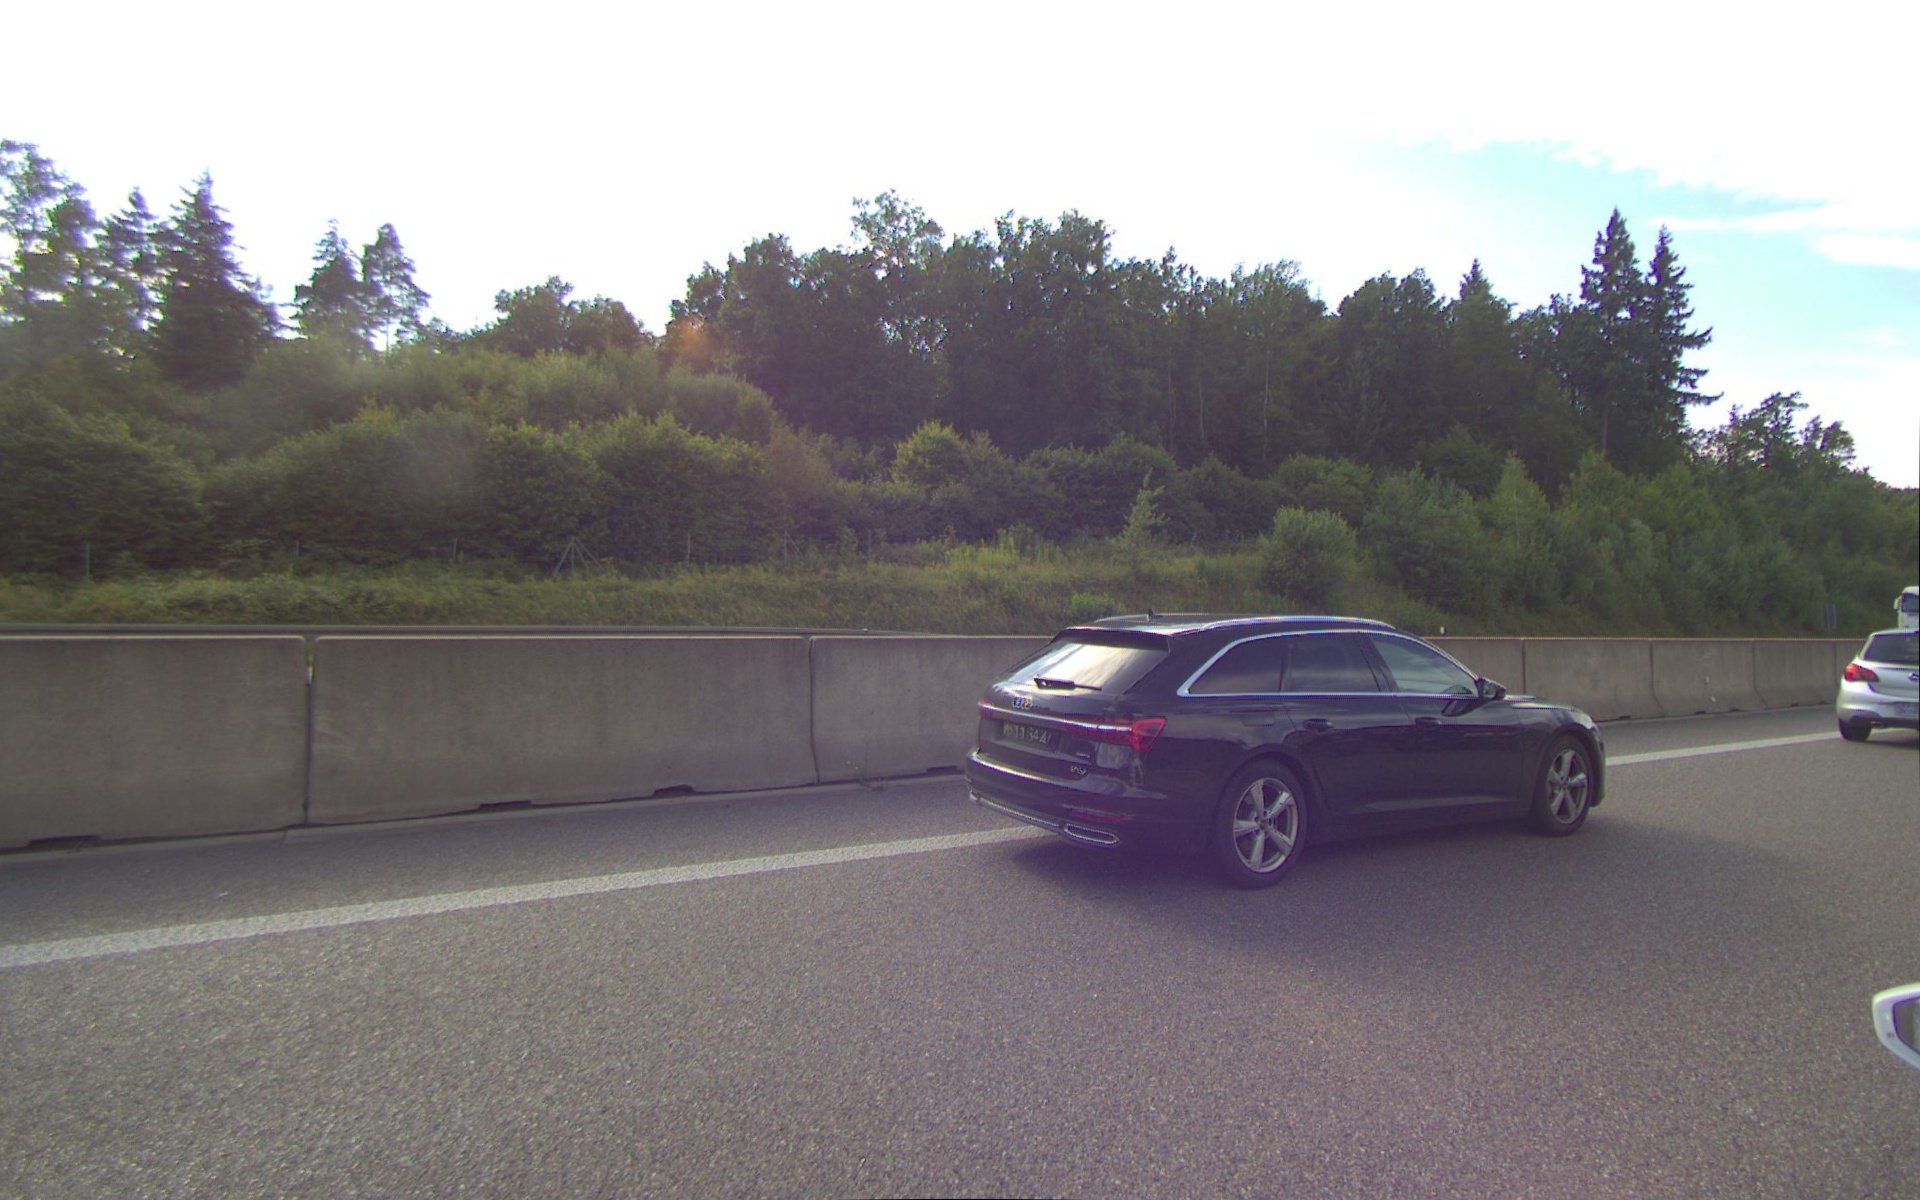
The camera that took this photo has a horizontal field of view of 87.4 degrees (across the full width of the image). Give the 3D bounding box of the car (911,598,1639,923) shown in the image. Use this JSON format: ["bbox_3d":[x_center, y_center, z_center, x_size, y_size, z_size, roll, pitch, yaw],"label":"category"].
[{"bbox_3d":[2.234,0.787,6.675,4.794,1.491,1.873,1,0,-30],"label":"car"}]

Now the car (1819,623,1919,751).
[{"bbox_3d":[12.896,1.060,12.861,3.994,1.485,1.738,1,-1,-31],"label":"car"}]

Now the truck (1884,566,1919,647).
[{"bbox_3d":[58.008,0.562,58.191,13.755,4.412,2.916,2,0,-32],"label":"truck"}]
